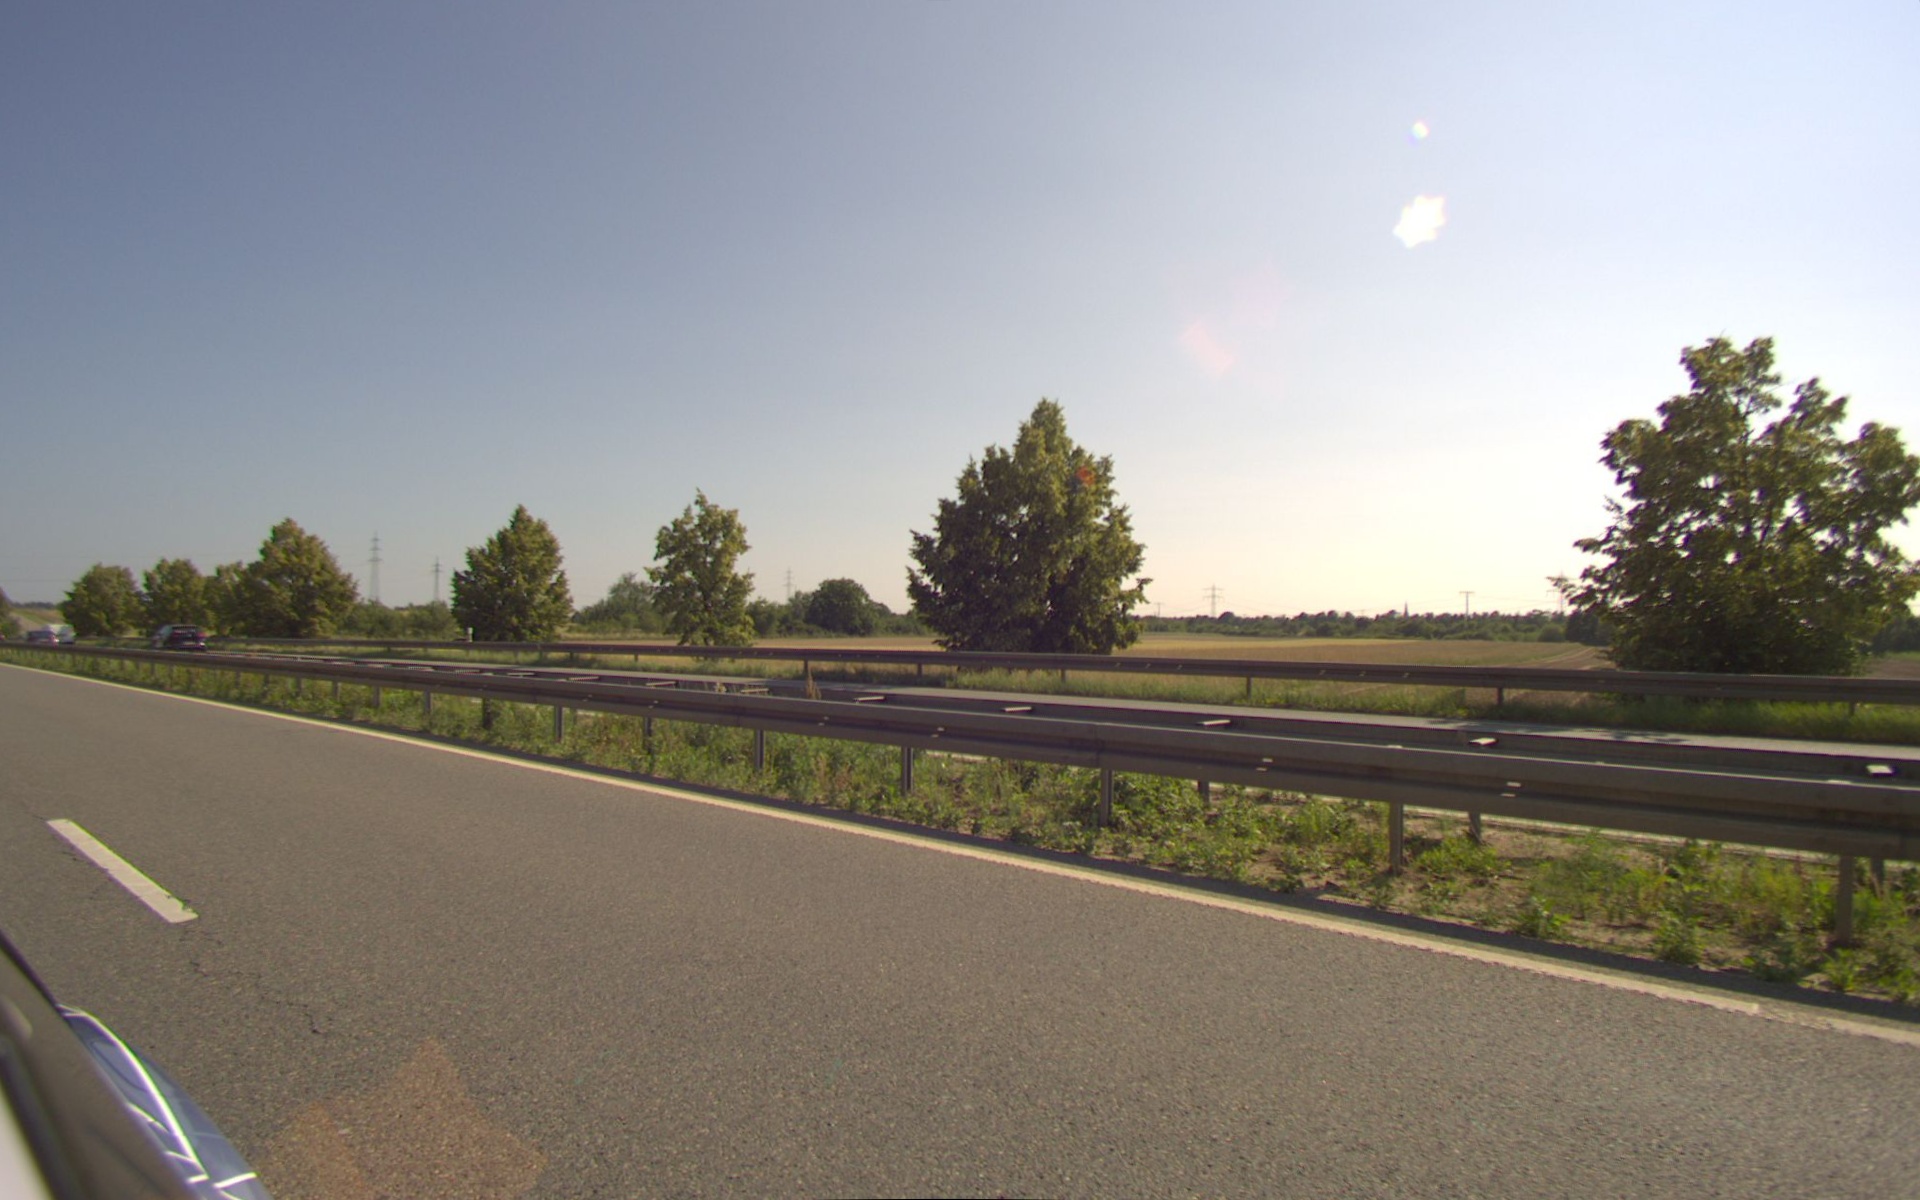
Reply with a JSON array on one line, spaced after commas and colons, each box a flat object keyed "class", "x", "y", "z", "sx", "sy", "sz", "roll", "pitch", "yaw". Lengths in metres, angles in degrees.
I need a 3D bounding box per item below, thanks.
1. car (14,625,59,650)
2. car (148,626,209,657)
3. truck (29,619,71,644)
[{"class": "car", "x": -60.968, "y": 2.454, "z": 66.810, "sx": 4.452, "sy": 1.553, "sz": 1.793, "roll": -1, "pitch": -1, "yaw": 42}, {"class": "car", "x": -41.690, "y": 2.182, "z": 53.961, "sx": 4.452, "sy": 1.553, "sz": 1.793, "roll": -1, "pitch": -1, "yaw": 42}, {"class": "truck", "x": -73.955, "y": 2.565, "z": 82.240, "sx": 5.289, "sy": 1.854, "sz": 1.903, "roll": -2, "pitch": -1, "yaw": 41}]
